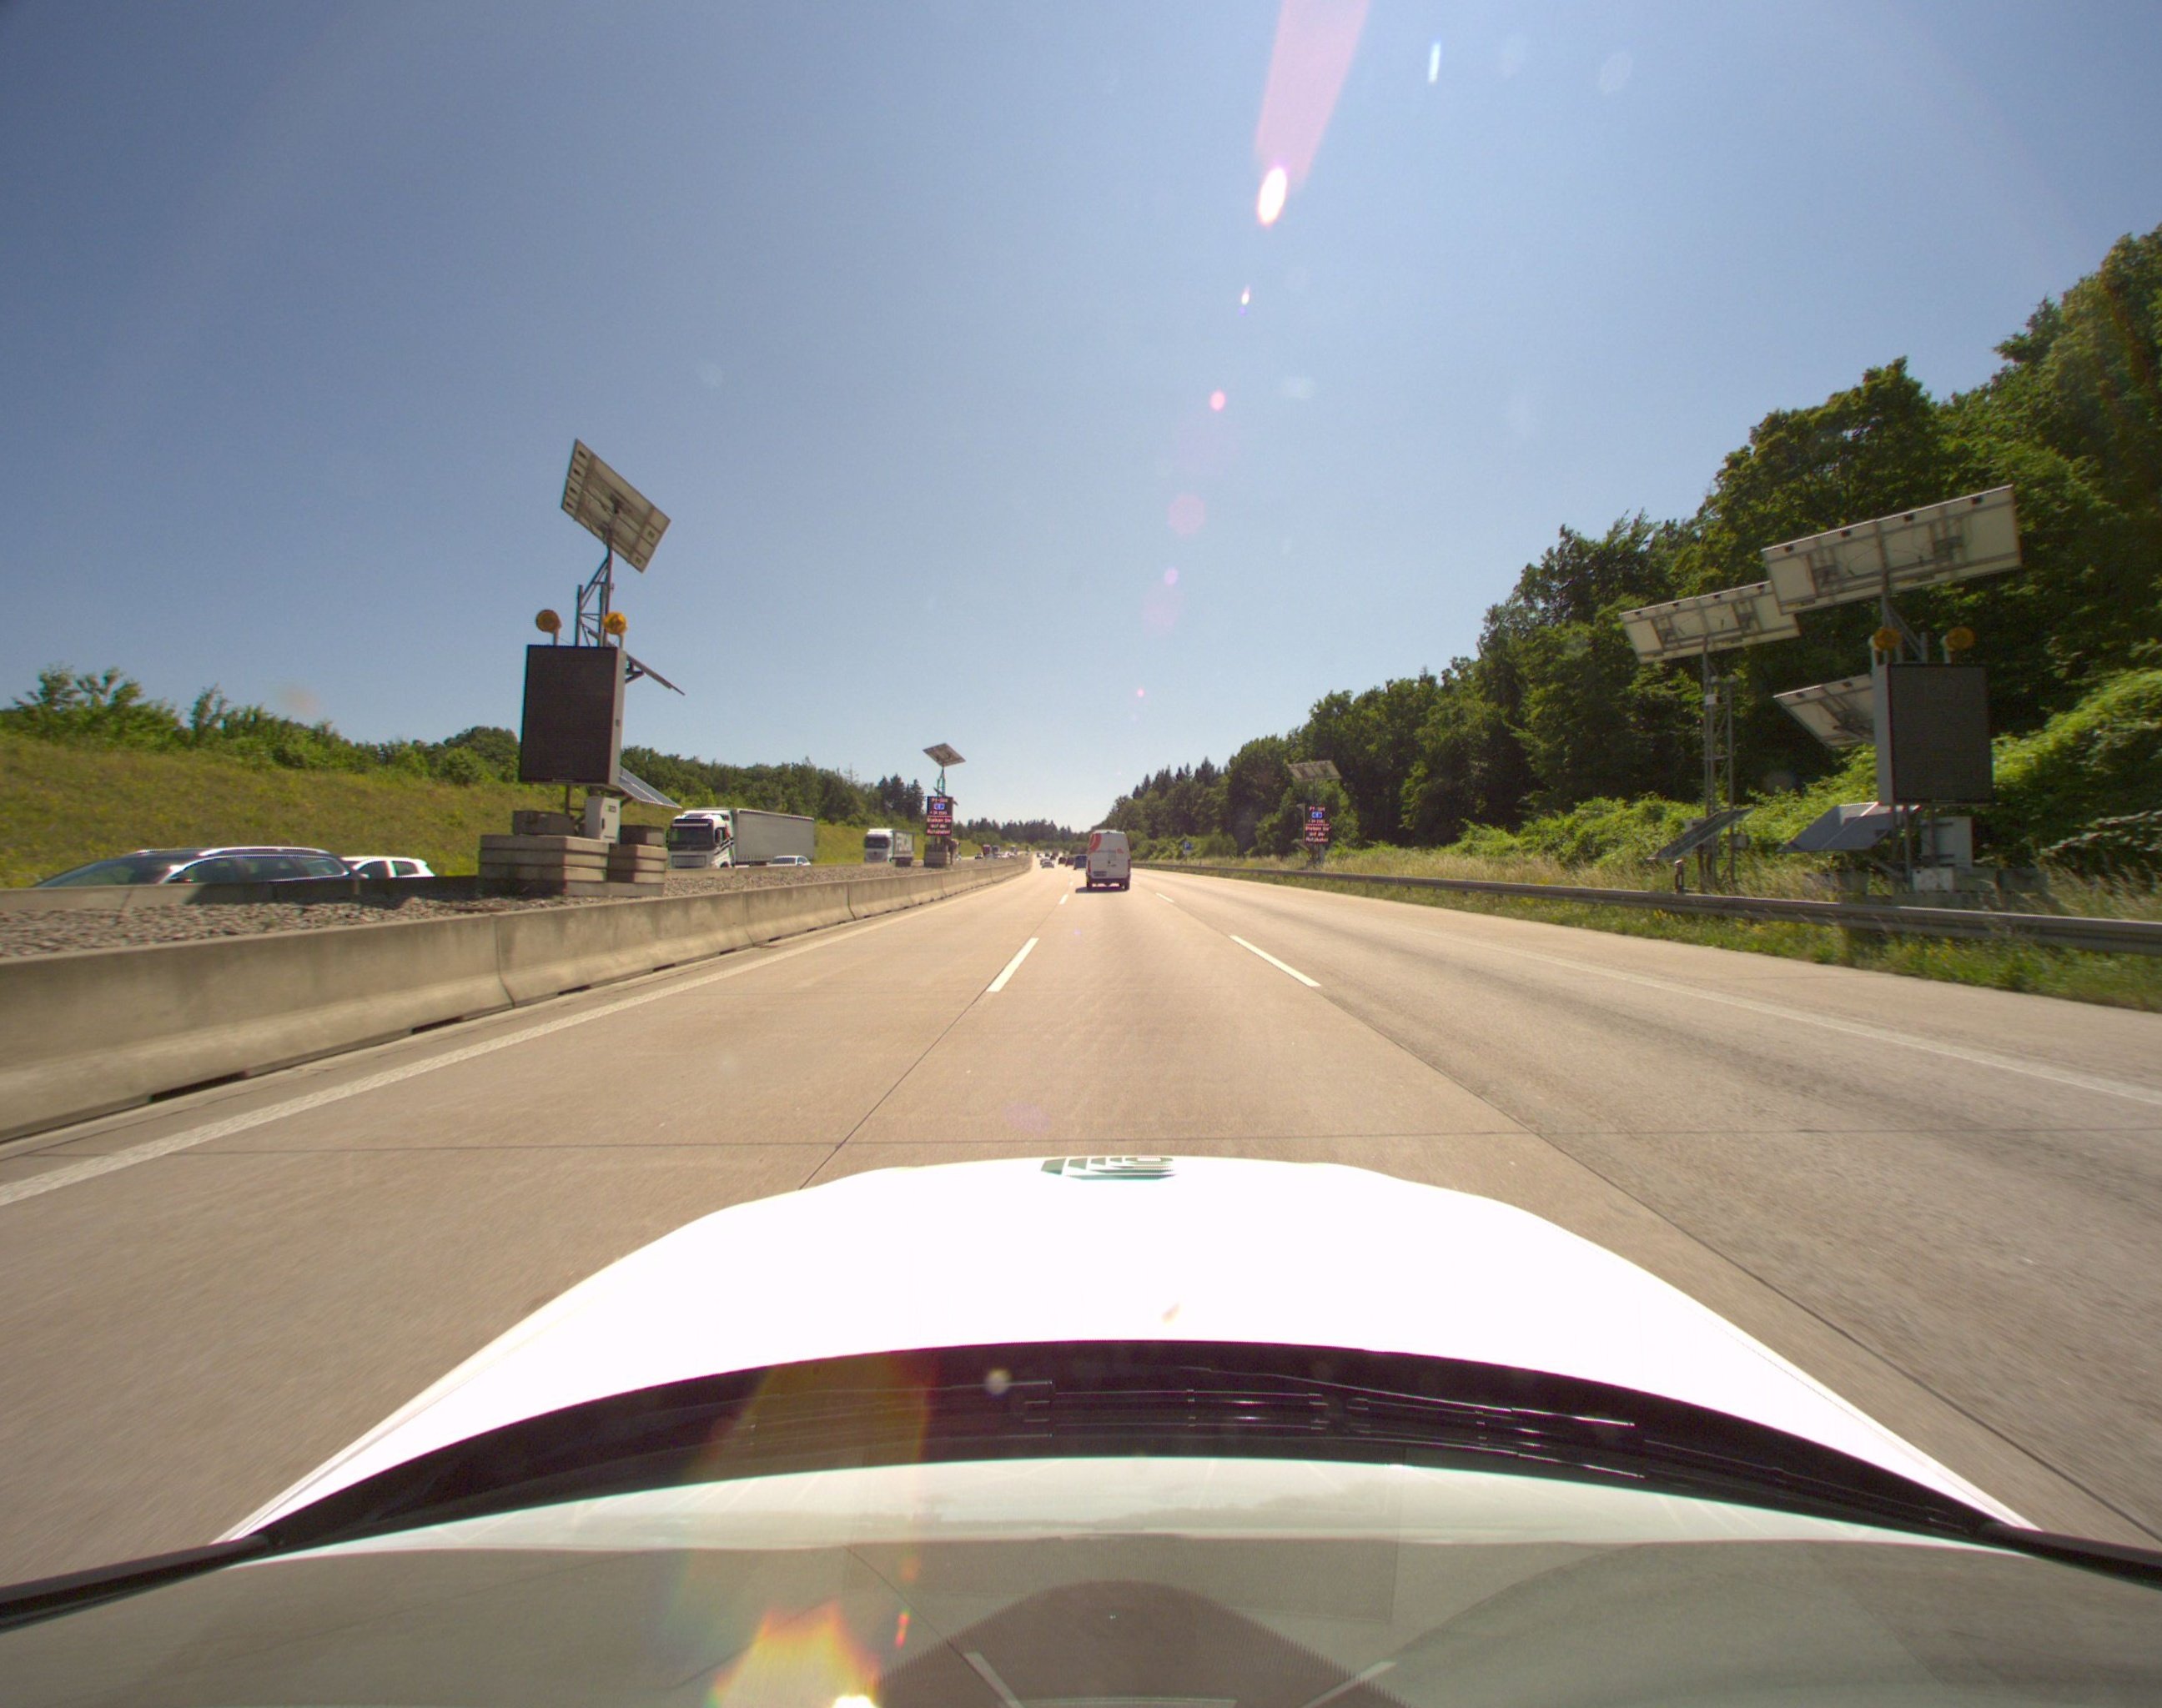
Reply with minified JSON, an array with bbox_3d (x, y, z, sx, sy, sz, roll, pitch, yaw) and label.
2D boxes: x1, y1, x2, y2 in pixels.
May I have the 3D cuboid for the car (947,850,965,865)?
[{"bbox_3d":[-17.721,0.461,115.570,1.988,2.014,3.998,-1,0,-1],"label":"car"}]

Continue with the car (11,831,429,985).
[{"bbox_3d":[-12.497,0.693,12.301,1.986,1.915,4.001,-1,0,1],"label":"car"}]

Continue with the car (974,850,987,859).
[{"bbox_3d":[-22.924,0.122,185.609,2.277,2.014,4.801,-1,0,-1],"label":"car"}]

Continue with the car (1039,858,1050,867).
[{"bbox_3d":[-7.237,1.728,161.270,1.987,1.684,4.000,2,-1,0],"label":"car"}]

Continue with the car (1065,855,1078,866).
[{"bbox_3d":[-1.581,1.091,136.522,1.987,1.684,4.000,2,-1,0],"label":"car"}]

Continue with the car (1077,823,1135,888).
[{"bbox_3d":[1.076,0.030,38.573,2.222,2.844,5.446,0,0,-4],"label":"car"}]

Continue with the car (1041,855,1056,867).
[{"bbox_3d":[-4.869,1.020,121.604,1.987,1.684,4.000,2,-1,0],"label":"car"}]

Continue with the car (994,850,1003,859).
[{"bbox_3d":[-19.371,0.159,191.520,1.990,2.014,4.453,-1,0,-4],"label":"car"}]

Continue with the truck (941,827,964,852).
[{"bbox_3d":[-24.065,-2.629,152.938,2.907,4.513,11.248,-1,0,-2],"label":"truck"}]

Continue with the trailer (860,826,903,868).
[{"bbox_3d":[-20.720,-0.697,84.970,2.926,4.169,6.885,2,-1,-2],"label":"trailer"}]

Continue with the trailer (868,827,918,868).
[{"bbox_3d":[-20.946,-0.651,91.675,2.926,4.169,13.178,2,0,-2],"label":"trailer"}]

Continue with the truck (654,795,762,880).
[{"bbox_3d":[-19.867,-0.823,43.857,2.925,4.169,6.225,2,-1,-2],"label":"truck"}]

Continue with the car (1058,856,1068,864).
[{"bbox_3d":[-3.864,1.238,174.832,1.987,1.684,4.000,2,-1,0],"label":"car"}]

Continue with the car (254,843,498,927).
[{"bbox_3d":[-15.713,0.636,18.496,1.986,1.684,4.001,-1,0,1],"label":"car"}]

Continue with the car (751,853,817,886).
[{"bbox_3d":[-15.907,0.805,43.840,1.986,1.684,4.001,-1,0,1],"label":"car"}]

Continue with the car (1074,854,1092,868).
[{"bbox_3d":[0.259,0.936,102.871,1.990,1.684,3.994,2,-1,-4],"label":"car"}]

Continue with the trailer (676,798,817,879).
[{"bbox_3d":[-20.040,-0.770,50.282,2.925,4.169,14.378,2,0,-1],"label":"trailer"}]

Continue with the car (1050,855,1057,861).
[{"bbox_3d":[-8.676,1.330,254.585,1.987,1.684,4.000,2,-1,0],"label":"car"}]
